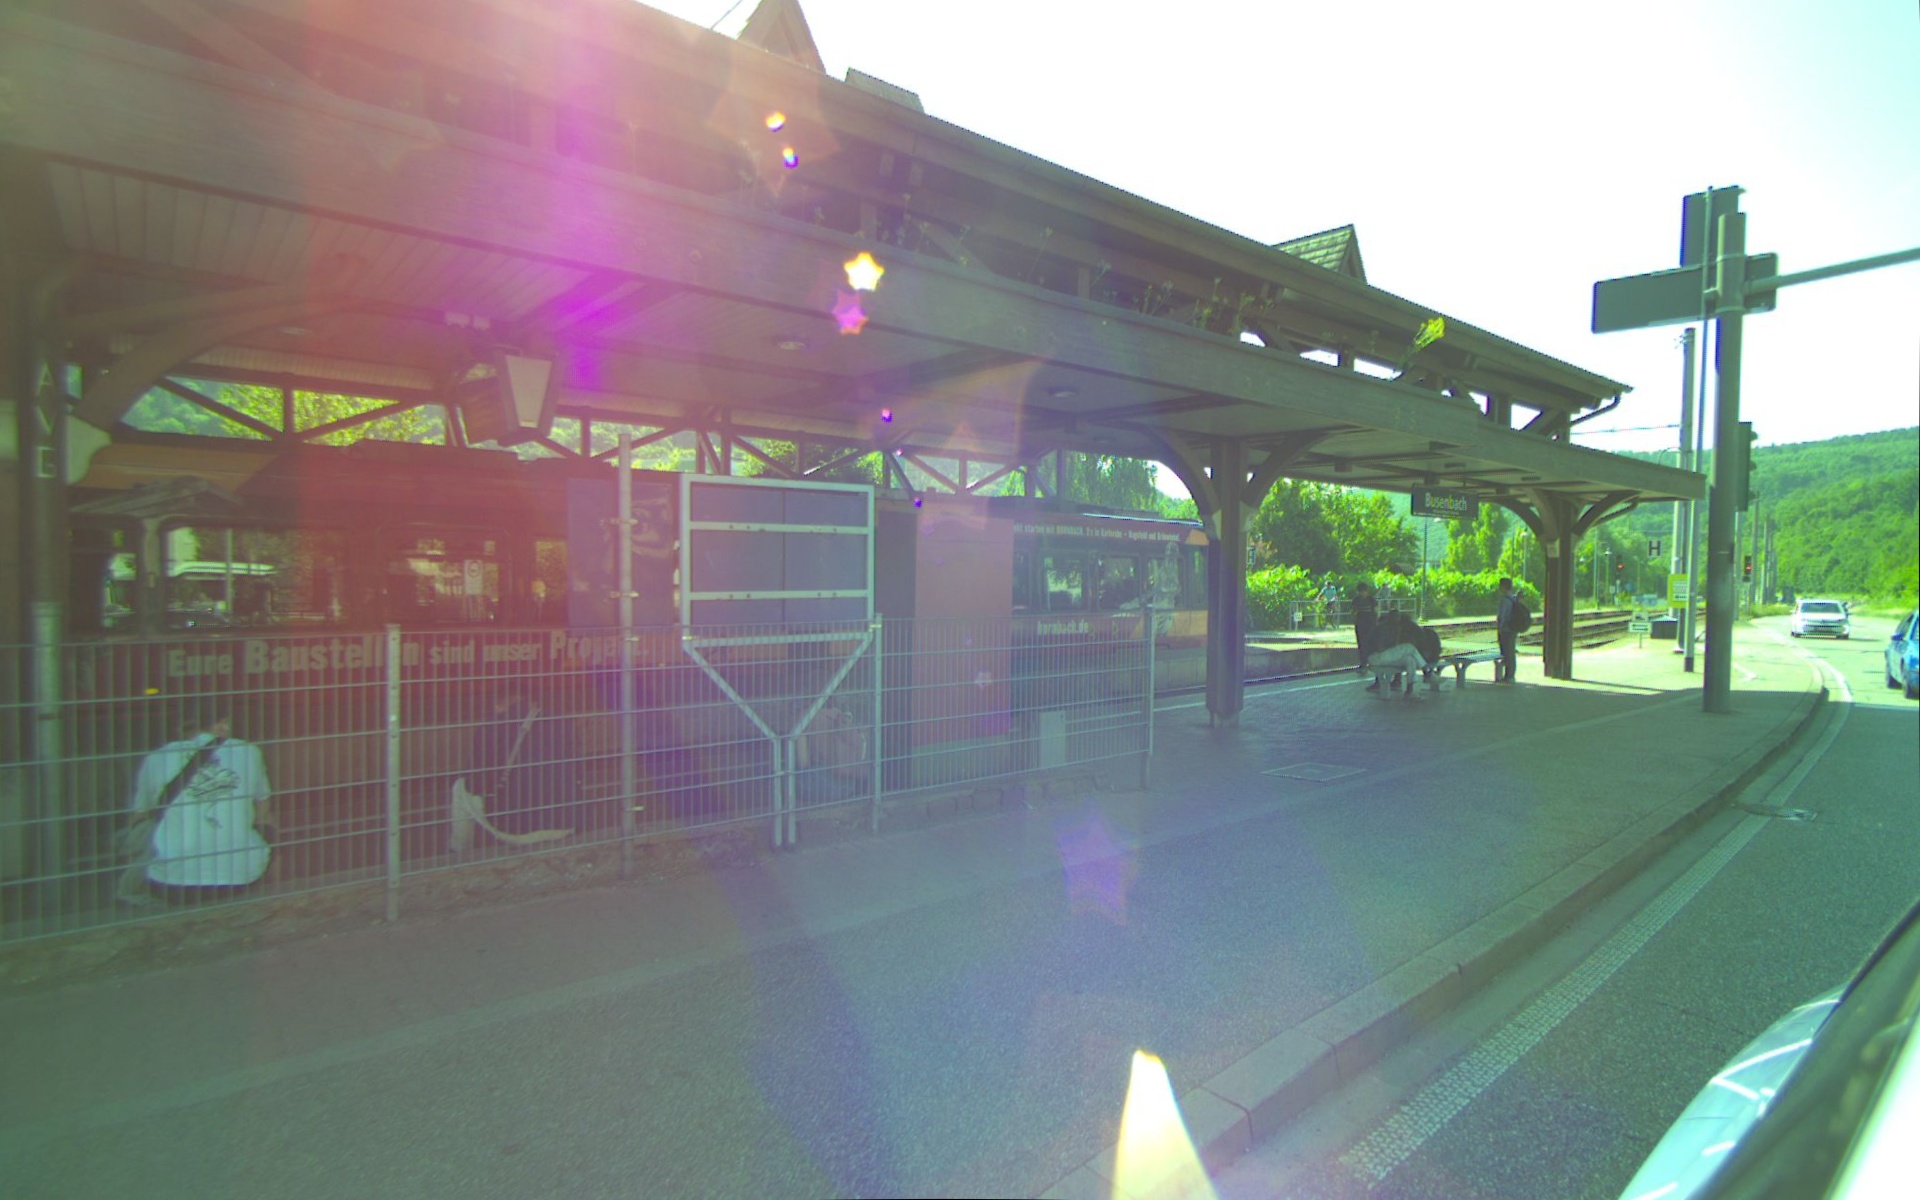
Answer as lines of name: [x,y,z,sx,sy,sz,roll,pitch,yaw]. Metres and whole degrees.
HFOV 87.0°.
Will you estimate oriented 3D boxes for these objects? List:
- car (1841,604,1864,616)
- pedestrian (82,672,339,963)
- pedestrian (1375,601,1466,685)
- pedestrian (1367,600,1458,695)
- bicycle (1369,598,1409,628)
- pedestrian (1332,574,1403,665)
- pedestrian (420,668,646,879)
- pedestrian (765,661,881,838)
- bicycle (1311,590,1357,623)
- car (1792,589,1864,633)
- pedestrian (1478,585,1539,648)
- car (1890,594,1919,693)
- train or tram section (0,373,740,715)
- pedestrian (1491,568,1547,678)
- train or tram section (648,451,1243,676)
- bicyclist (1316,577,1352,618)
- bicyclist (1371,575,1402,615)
car: [137.300,1.602,155.714,1.986,1.706,3.951,-2,-2,34]
pedestrian: [-3.092,0.819,4.176,0.756,0.995,0.743,2,-3,-43]
pedestrian: [6.785,0.611,14.896,1.005,1.174,0.935,-1,0,40]
pedestrian: [6.171,0.641,13.815,0.989,1.252,0.587,-2,-3,40]
bicycle: [19.129,0.591,45.109,0.870,1.270,2.259,-2,-3,43]
pedestrian: [7.229,0.339,17.946,0.906,1.567,0.862,2,-1,-42]
pedestrian: [-2.129,0.801,5.041,0.794,0.885,0.845,2,-3,-43]
pedestrian: [-0.823,0.860,6.051,0.400,0.978,0.617,3,-4,-43]
bicycle: [14.768,0.283,39.960,0.870,1.270,2.259,-2,-3,43]
car: [33.851,0.451,39.570,1.990,1.605,3.942,-2,-2,39]
pedestrian: [15.798,0.478,29.158,0.899,1.759,1.251,1,-3,-35]
car: [16.423,0.671,16.241,1.856,1.501,4.243,0,0,38]
train or tram section: [-8.756,-0.552,12.625,11.837,3.407,2.790,-1,-1,-41]
pedestrian: [9.018,0.353,16.320,0.656,1.713,0.728,0,0,40]
train or tram section: [0.768,-0.572,21.187,14.108,3.408,2.859,0,-1,-42]
bicyclist: [14.752,-0.092,39.941,1.007,1.574,1.024,-2,-3,43]
bicyclist: [19.029,-0.201,45.117,1.007,1.749,0.852,-2,-3,44]
